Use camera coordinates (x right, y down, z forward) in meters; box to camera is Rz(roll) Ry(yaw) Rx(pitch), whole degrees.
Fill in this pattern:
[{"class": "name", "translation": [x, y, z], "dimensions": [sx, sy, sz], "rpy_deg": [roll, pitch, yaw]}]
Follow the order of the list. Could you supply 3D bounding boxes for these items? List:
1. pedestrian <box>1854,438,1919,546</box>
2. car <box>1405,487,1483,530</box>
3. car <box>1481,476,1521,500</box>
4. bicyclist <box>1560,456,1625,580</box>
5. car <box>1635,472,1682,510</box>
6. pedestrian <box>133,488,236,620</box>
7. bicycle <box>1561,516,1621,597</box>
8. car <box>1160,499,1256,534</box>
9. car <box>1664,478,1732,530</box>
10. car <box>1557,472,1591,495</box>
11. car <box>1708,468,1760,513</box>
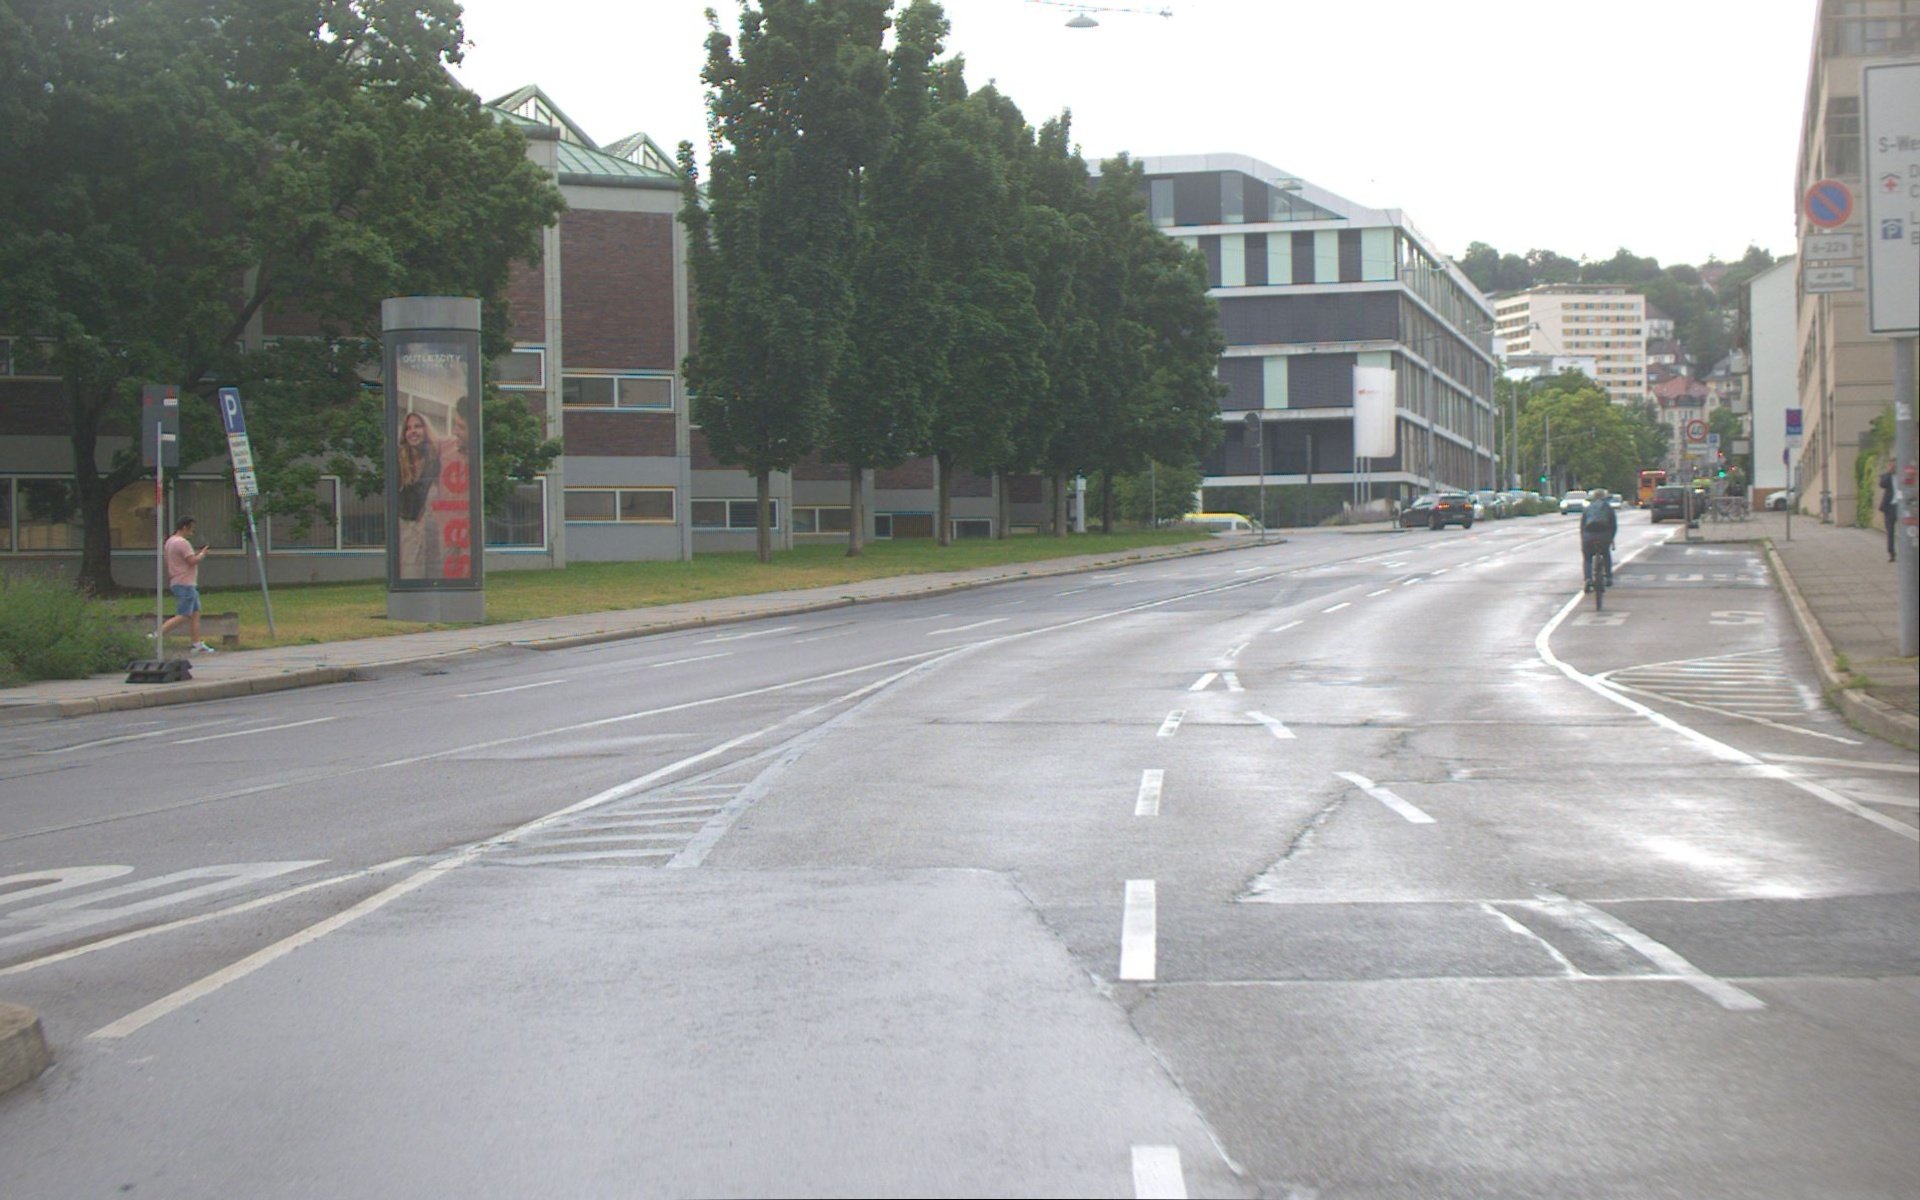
[{"class": "pedestrian", "translation": [16.236, -1.886, 59.725], "dimensions": [1.240, 1.782, 1.594], "rpy_deg": [-3, 1, 16]}, {"class": "car", "translation": [19.770, -3.762, 140.500], "dimensions": [1.892, 1.619, 3.648], "rpy_deg": [-2, 4, -15]}, {"class": "car", "translation": [30.877, -6.402, 196.174], "dimensions": [1.840, 1.231, 3.414], "rpy_deg": [0, 4, 16]}, {"class": "bicyclist", "translation": [8.417, -1.101, 45.722], "dimensions": [0.700, 1.627, 1.128], "rpy_deg": [1, 2, 18]}, {"class": "car", "translation": [30.515, -4.766, 150.166], "dimensions": [1.840, 1.554, 3.998], "rpy_deg": [0, 4, 14]}, {"class": "pedestrian", "translation": [-9.421, -0.569, 41.770], "dimensions": [0.806, 1.565, 0.956], "rpy_deg": [1, 2, 23]}, {"class": "bicycle", "translation": [8.400, -0.585, 45.740], "dimensions": [0.646, 1.053, 1.820], "rpy_deg": [0, 1, 15]}, {"class": "car", "translation": [14.156, -4.769, 196.118], "dimensions": [5.230, 2.006, 1.999], "rpy_deg": [0, 2, 13]}, {"class": "car", "translation": [23.747, -3.102, 110.554], "dimensions": [1.840, 1.554, 3.998], "rpy_deg": [0, 4, 17]}, {"class": "car", "translation": [40.346, -7.658, 225.797], "dimensions": [1.840, 1.349, 3.414], "rpy_deg": [0, 4, 16]}, {"class": "car", "translation": [29.112, -4.123, 129.257], "dimensions": [1.840, 1.554, 3.998], "rpy_deg": [0, 4, 14]}]
